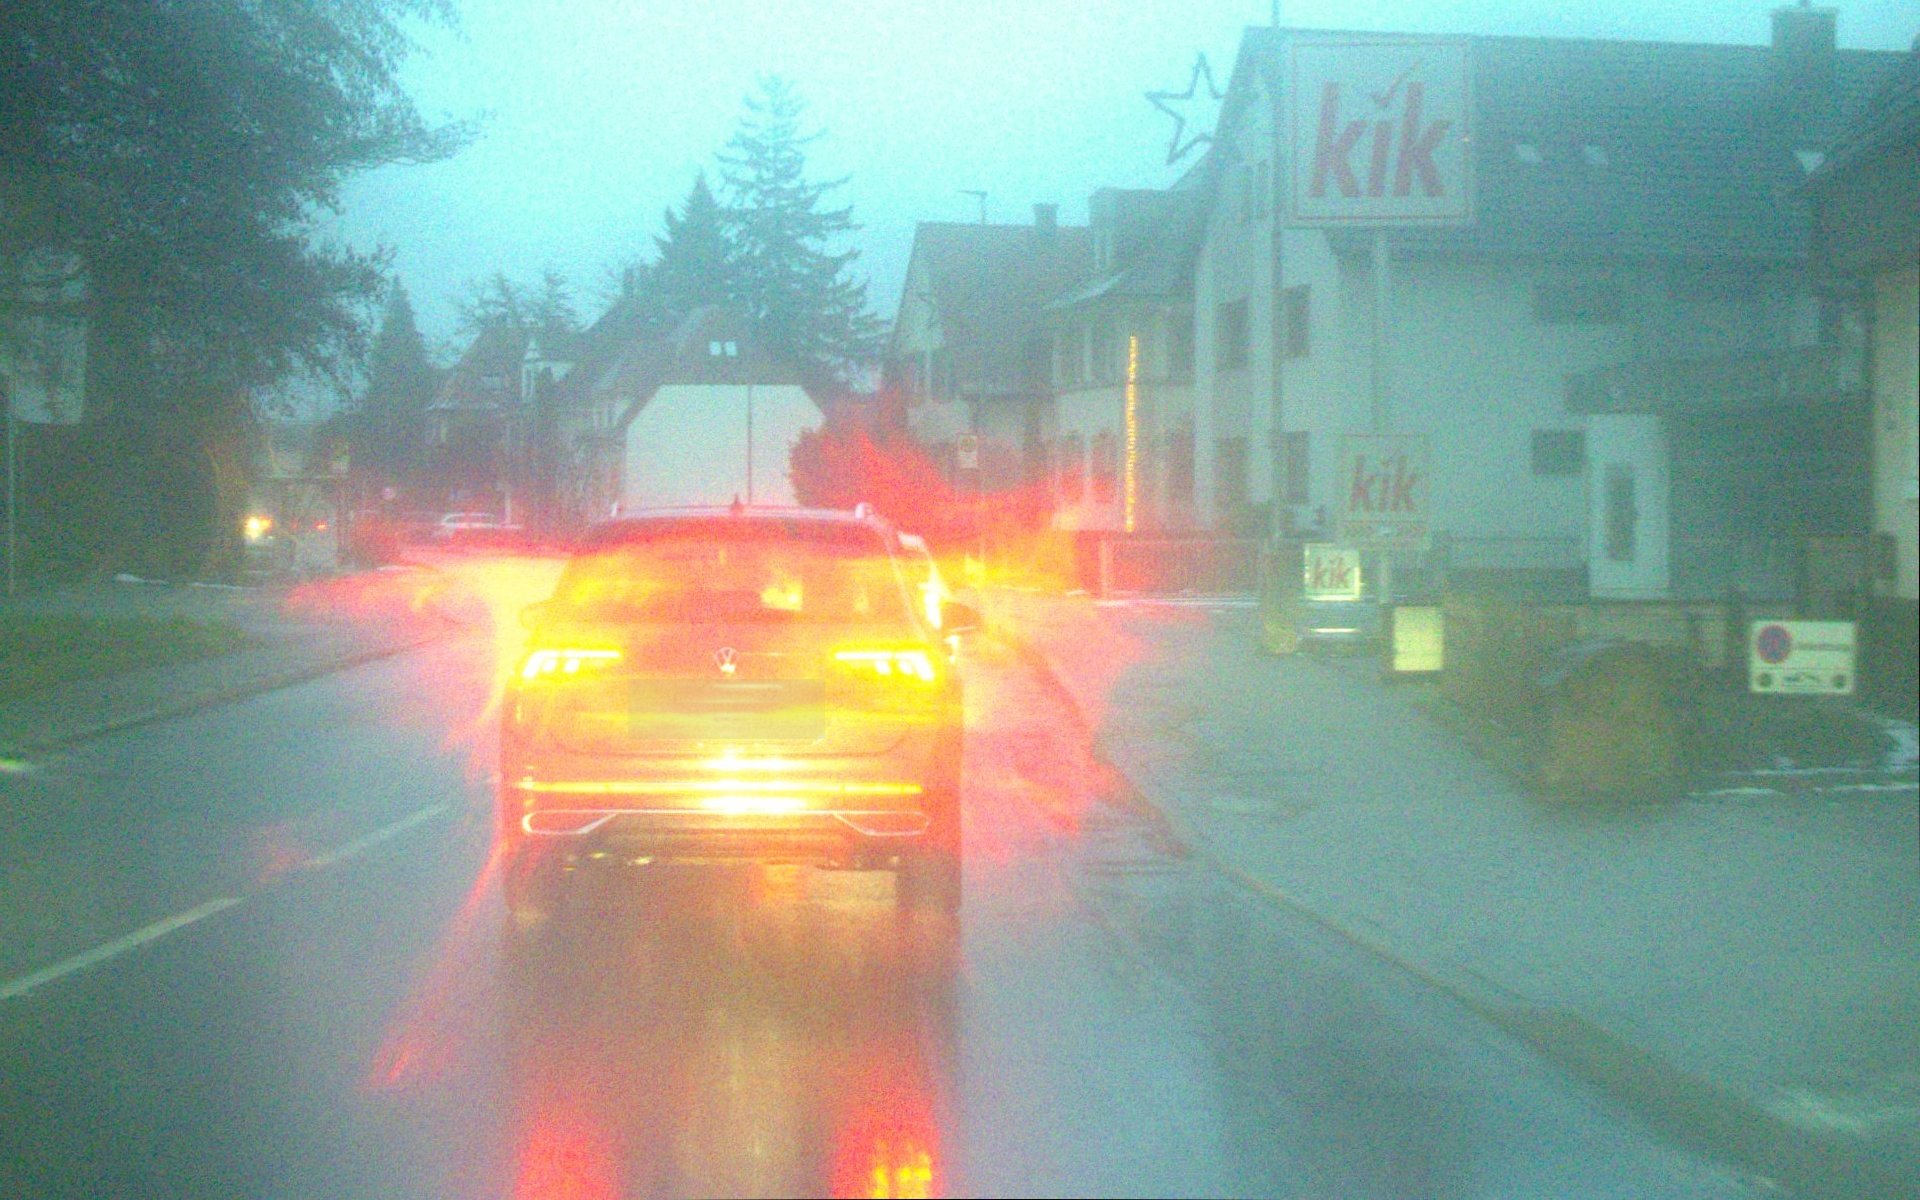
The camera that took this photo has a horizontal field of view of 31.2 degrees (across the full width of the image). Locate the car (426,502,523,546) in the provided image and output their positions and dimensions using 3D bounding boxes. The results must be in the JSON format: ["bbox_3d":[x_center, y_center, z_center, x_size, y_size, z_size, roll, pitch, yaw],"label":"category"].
[{"bbox_3d":[-22.346,-3.518,158.269,4.245,2.007,1.811,-1,1,-14],"label":"car"}]

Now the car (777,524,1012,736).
[{"bbox_3d":[-0.591,0.201,29.673,1.857,1.641,4.001,1,2,-2],"label":"car"}]

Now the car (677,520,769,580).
[{"bbox_3d":[-5.434,-1.159,78.599,1.842,1.327,3.939,-1,2,-8],"label":"car"}]

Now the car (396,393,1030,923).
[{"bbox_3d":[-0.998,0.170,15.085,2.309,1.932,5.019,0,1,-2],"label":"car"}]
